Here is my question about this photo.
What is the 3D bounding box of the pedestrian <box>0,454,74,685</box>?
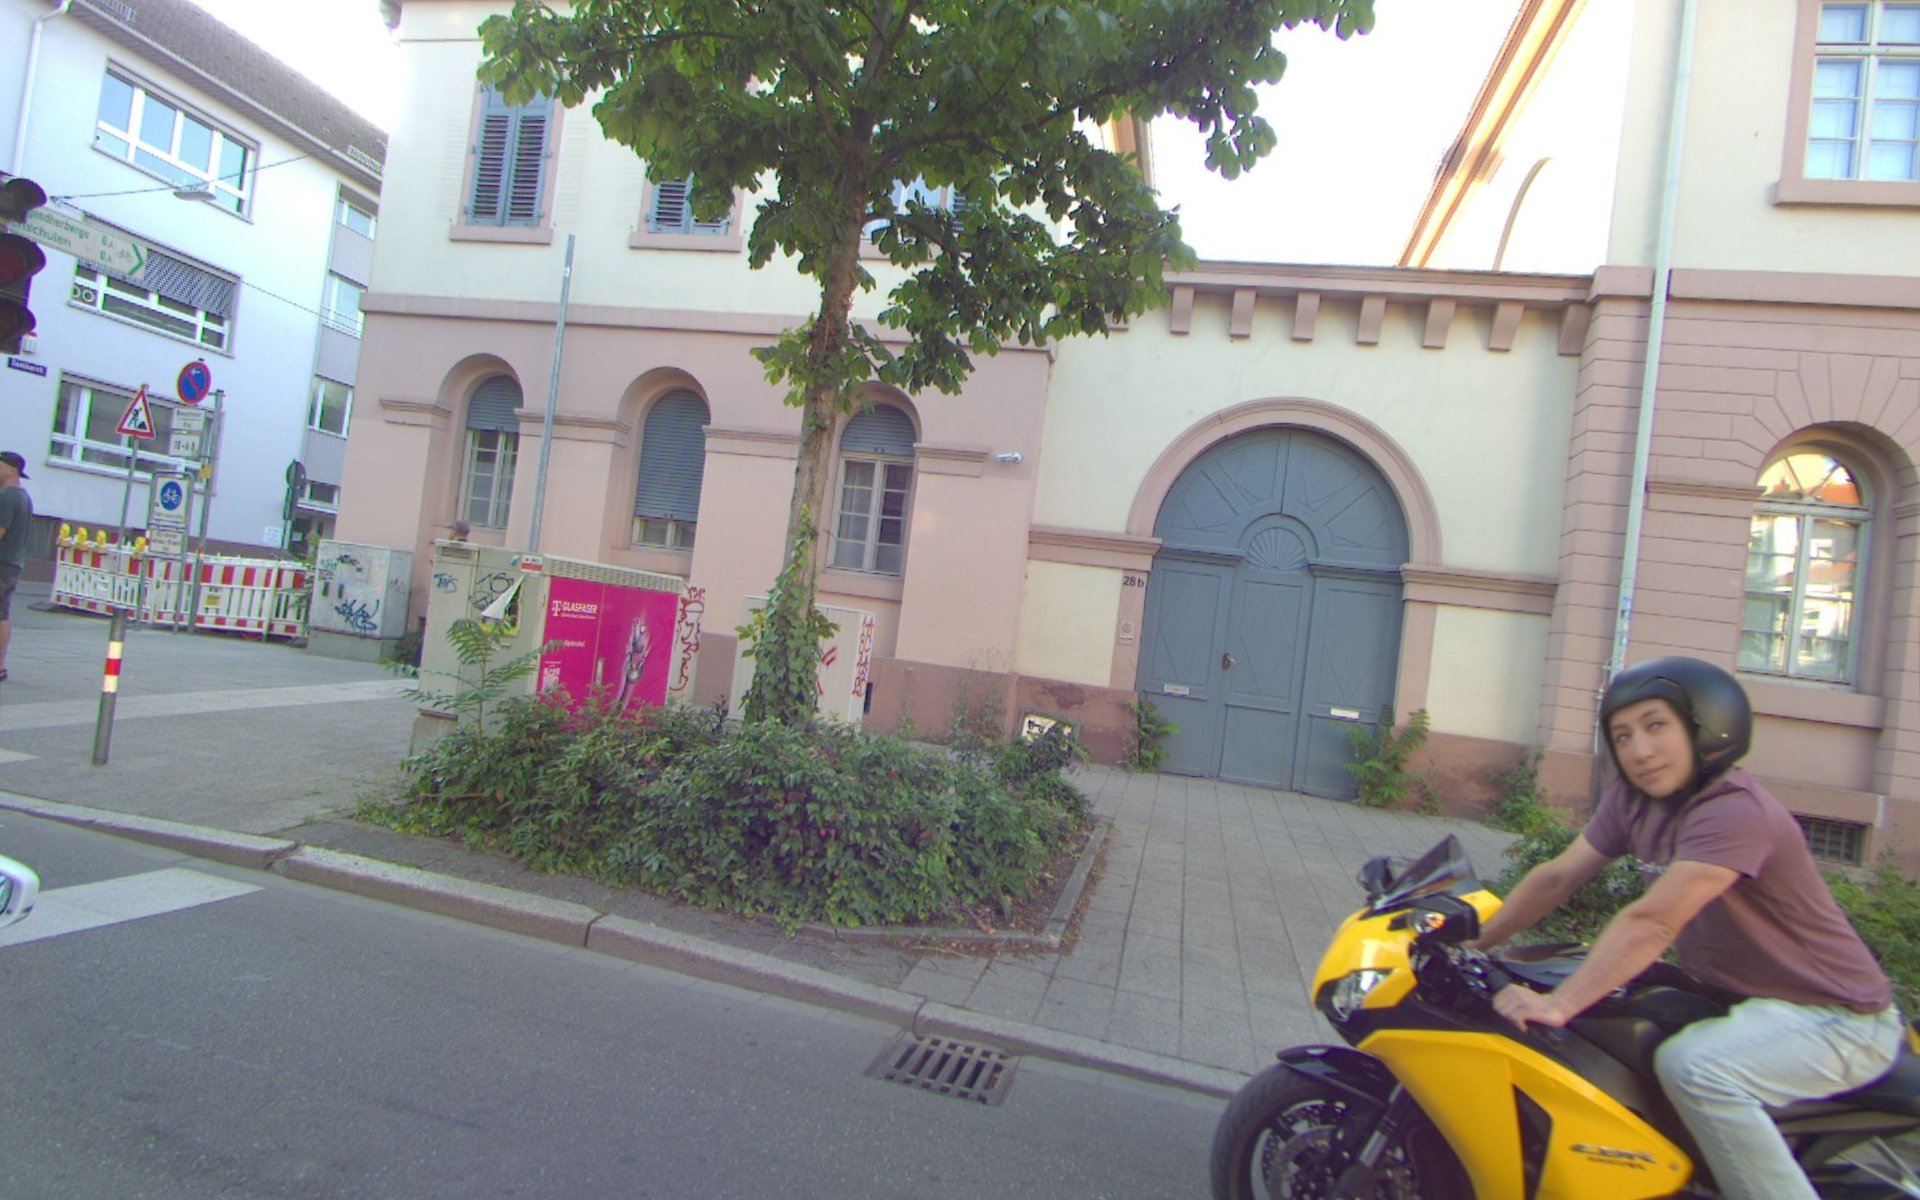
[{"bbox_3d":[-7.697,-0.255,8.072,0.565,1.797,0.545,7,1,15],"label":"pedestrian"}]

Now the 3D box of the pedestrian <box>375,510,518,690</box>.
[{"bbox_3d":[-5.664,0.002,11.124,1.045,1.818,0.699,7,1,14],"label":"pedestrian"}]

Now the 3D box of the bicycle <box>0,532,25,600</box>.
[{"bbox_3d":[-15.746,-0.666,15.349,0.663,1.041,1.977,5,-4,29],"label":"bicycle"}]

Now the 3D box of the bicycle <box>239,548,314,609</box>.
[{"bbox_3d":[-15.348,-0.454,22.644,0.524,1.253,1.794,7,-2,-8],"label":"bicycle"}]

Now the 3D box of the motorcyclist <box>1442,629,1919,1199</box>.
[{"bbox_3d":[1.730,0.838,2.390,0.713,1.428,0.739,7,-2,6],"label":"motorcyclist"}]

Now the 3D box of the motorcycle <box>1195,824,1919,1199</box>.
[{"bbox_3d":[1.639,1.264,2.385,1.927,1.071,0.739,7,-2,6],"label":"motorcycle"}]

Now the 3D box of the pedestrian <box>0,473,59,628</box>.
[{"bbox_3d":[-12.132,-0.651,12.605,1.030,1.878,0.699,7,0,19],"label":"pedestrian"}]
